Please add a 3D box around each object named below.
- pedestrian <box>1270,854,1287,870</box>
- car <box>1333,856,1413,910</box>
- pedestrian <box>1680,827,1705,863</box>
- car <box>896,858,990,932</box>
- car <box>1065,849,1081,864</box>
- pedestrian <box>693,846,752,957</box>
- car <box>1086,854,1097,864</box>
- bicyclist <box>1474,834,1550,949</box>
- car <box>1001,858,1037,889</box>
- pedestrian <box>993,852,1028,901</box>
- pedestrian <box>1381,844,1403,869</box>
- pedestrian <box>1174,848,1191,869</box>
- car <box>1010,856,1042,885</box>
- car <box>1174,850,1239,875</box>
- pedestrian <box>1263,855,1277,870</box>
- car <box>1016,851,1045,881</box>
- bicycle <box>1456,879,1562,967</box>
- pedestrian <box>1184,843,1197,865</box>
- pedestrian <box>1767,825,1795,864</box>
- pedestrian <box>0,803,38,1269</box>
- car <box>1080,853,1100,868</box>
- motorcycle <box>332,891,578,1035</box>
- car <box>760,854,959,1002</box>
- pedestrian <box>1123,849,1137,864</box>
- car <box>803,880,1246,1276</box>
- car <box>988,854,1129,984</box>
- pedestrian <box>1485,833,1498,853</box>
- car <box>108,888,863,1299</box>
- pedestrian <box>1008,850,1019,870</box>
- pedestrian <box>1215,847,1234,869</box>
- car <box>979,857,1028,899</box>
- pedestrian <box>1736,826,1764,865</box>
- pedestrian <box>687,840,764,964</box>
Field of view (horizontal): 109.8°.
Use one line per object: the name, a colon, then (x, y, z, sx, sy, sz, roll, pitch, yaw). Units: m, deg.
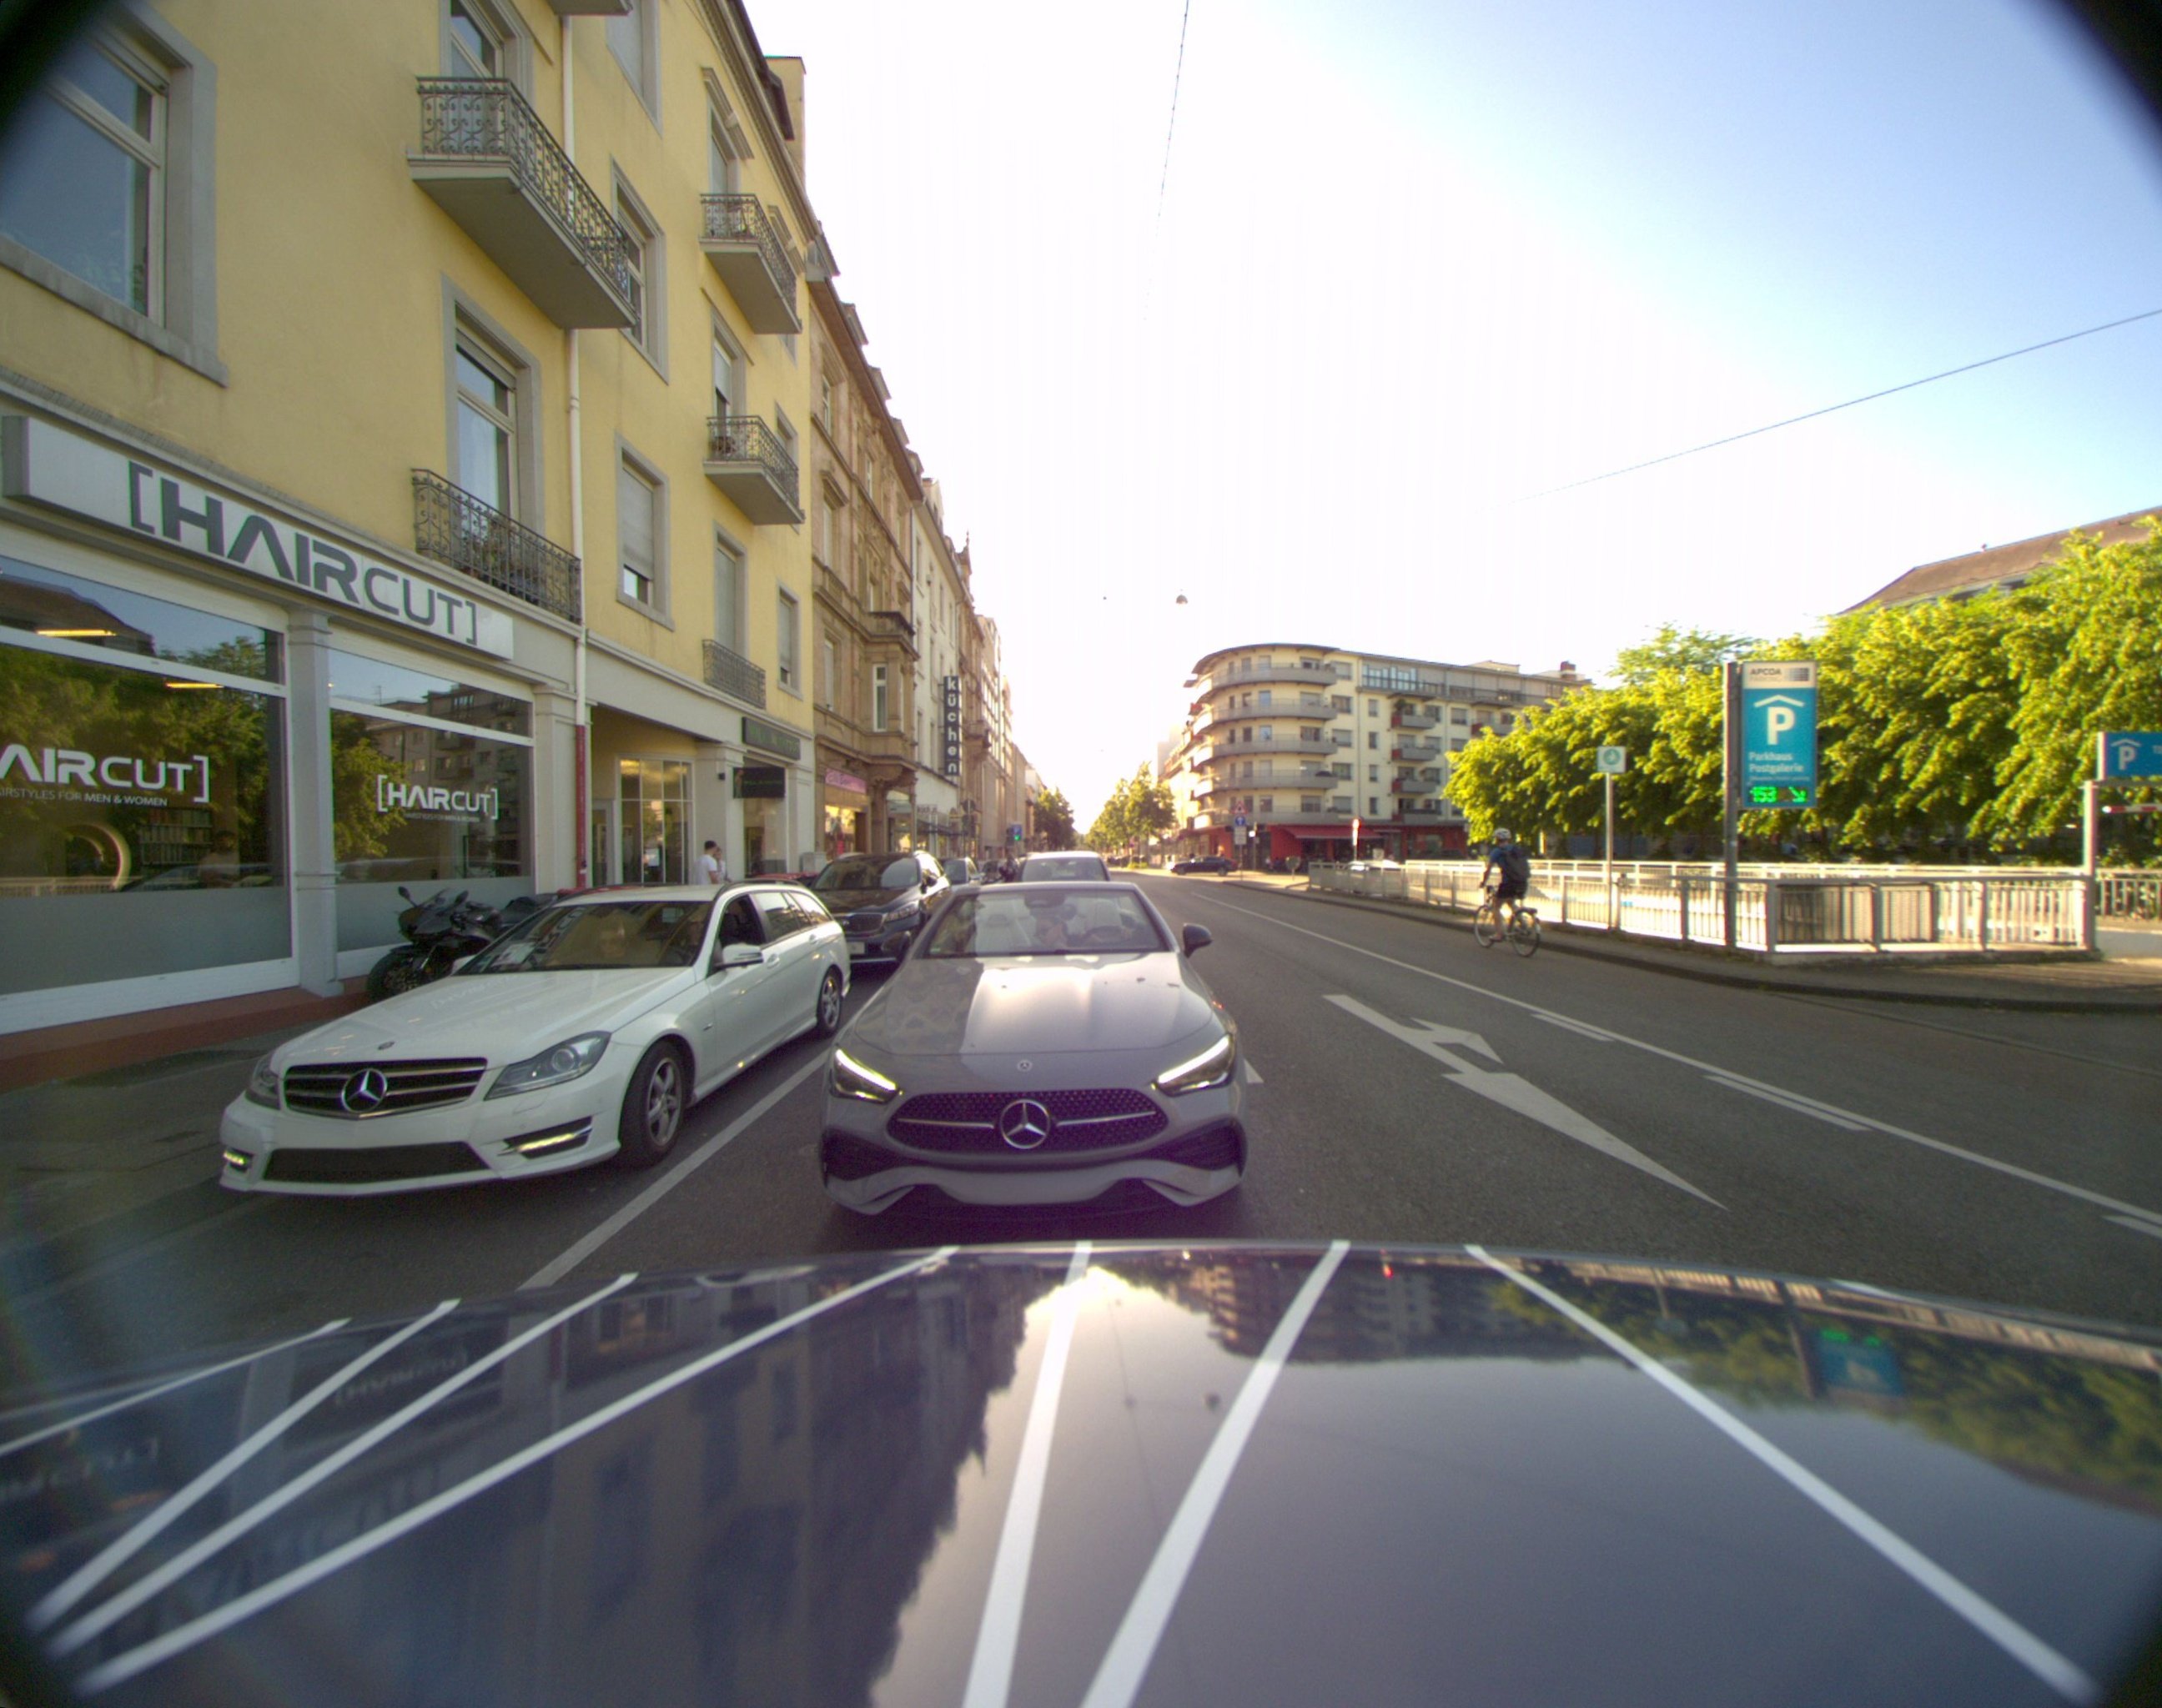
pedestrian: (15.432, 0.649, 59.387, 0.937, 1.191, 0.832, -3, 1, -24)
car: (10.520, 0.995, 27.638, 1.637, 1.522, 3.906, -2, 4, 4)
pedestrian: (31.728, -0.462, 39.415, 0.748, 1.832, 0.683, -3, 1, -21)
car: (-3.179, 0.902, 17.996, 1.583, 1.514, 2.998, -2, 1, 1)
car: (-0.935, 0.319, 88.710, 1.695, 1.635, 3.599, -2, 1, -1)
pedestrian: (-6.147, 0.791, 13.067, 0.630, 1.826, 0.770, -2, 1, -7)
car: (1.863, 0.868, 137.932, 1.836, 1.831, 3.886, 1, 1, -2)
bicyclist: (6.591, 0.555, 11.655, 0.703, 1.700, 0.810, 0, 1, 0)
car: (-2.952, 0.896, 36.688, 1.461, 1.310, 3.363, -2, 1, -1)
pedestrian: (-2.501, 0.792, 26.894, 0.835, 1.709, 0.821, -2, 1, 30)
pedestrian: (21.851, 0.182, 53.481, 1.270, 1.656, 1.141, -2, 1, 16)
pedestrian: (8.721, 0.403, 65.086, 1.070, 1.709, 1.079, -2, 1, -12)
car: (-2.940, 0.862, 40.956, 1.461, 1.391, 3.363, -2, 1, -1)
car: (8.684, 0.568, 52.389, 4.242, 1.521, 1.678, -2, 1, 14)
pedestrian: (14.925, 0.661, 60.045, 0.780, 1.191, 0.884, -2, 1, -10)
car: (-3.150, 0.712, 47.554, 1.695, 1.670, 3.880, -2, 1, -3)
bicycle: (6.564, 1.018, 11.784, 0.617, 1.156, 1.958, 1, 1, 3)
pedestrian: (10.082, 0.008, 69.738, 0.990, 1.908, 0.790, -2, 1, -3)
pedestrian: (33.616, -0.435, 36.484, 0.748, 1.832, 0.683, -2, 1, -13)
pedestrian: (-4.628, 0.710, 2.572, 0.810, 1.812, 0.982, 1, 1, 4)
car: (0.912, 0.649, 76.416, 1.695, 1.437, 3.575, -2, 1, -3)
motorcycle: (-6.253, 1.020, 7.795, 0.735, 1.124, 2.109, 2, 1, 1)
car: (-3.011, 0.887, 11.345, 1.806, 1.680, 4.408, -2, 1, -3)
pedestrian: (6.109, 0.261, 95.175, 1.224, 1.826, 1.200, -3, 1, -31)
car: (-0.279, 0.994, 5.364, 1.769, 1.360, 4.471, -2, 1, -2)
car: (-0.363, 0.890, 12.764, 1.866, 1.658, 4.706, -2, 1, -2)
pedestrian: (38.363, -1.002, 71.008, 0.747, 1.832, 0.684, -2, 1, 1)
car: (-3.024, 1.069, 5.253, 1.672, 1.364, 4.377, -2, 1, 1)
pedestrian: (-5.914, 0.506, 66.969, 0.826, 1.750, 0.823, -2, 1, -1)
pedestrian: (11.589, 0.331, 61.374, 1.063, 1.739, 0.960, -3, 1, -30)
car: (-3.024, 0.899, 30.319, 1.695, 1.482, 3.796, -2, 1, -3)
pedestrian: (32.360, -0.400, 36.748, 0.748, 1.852, 0.683, -2, 1, -13)
pedestrian: (-5.619, 0.725, 12.023, 0.975, 1.866, 0.534, -3, 1, -31)
